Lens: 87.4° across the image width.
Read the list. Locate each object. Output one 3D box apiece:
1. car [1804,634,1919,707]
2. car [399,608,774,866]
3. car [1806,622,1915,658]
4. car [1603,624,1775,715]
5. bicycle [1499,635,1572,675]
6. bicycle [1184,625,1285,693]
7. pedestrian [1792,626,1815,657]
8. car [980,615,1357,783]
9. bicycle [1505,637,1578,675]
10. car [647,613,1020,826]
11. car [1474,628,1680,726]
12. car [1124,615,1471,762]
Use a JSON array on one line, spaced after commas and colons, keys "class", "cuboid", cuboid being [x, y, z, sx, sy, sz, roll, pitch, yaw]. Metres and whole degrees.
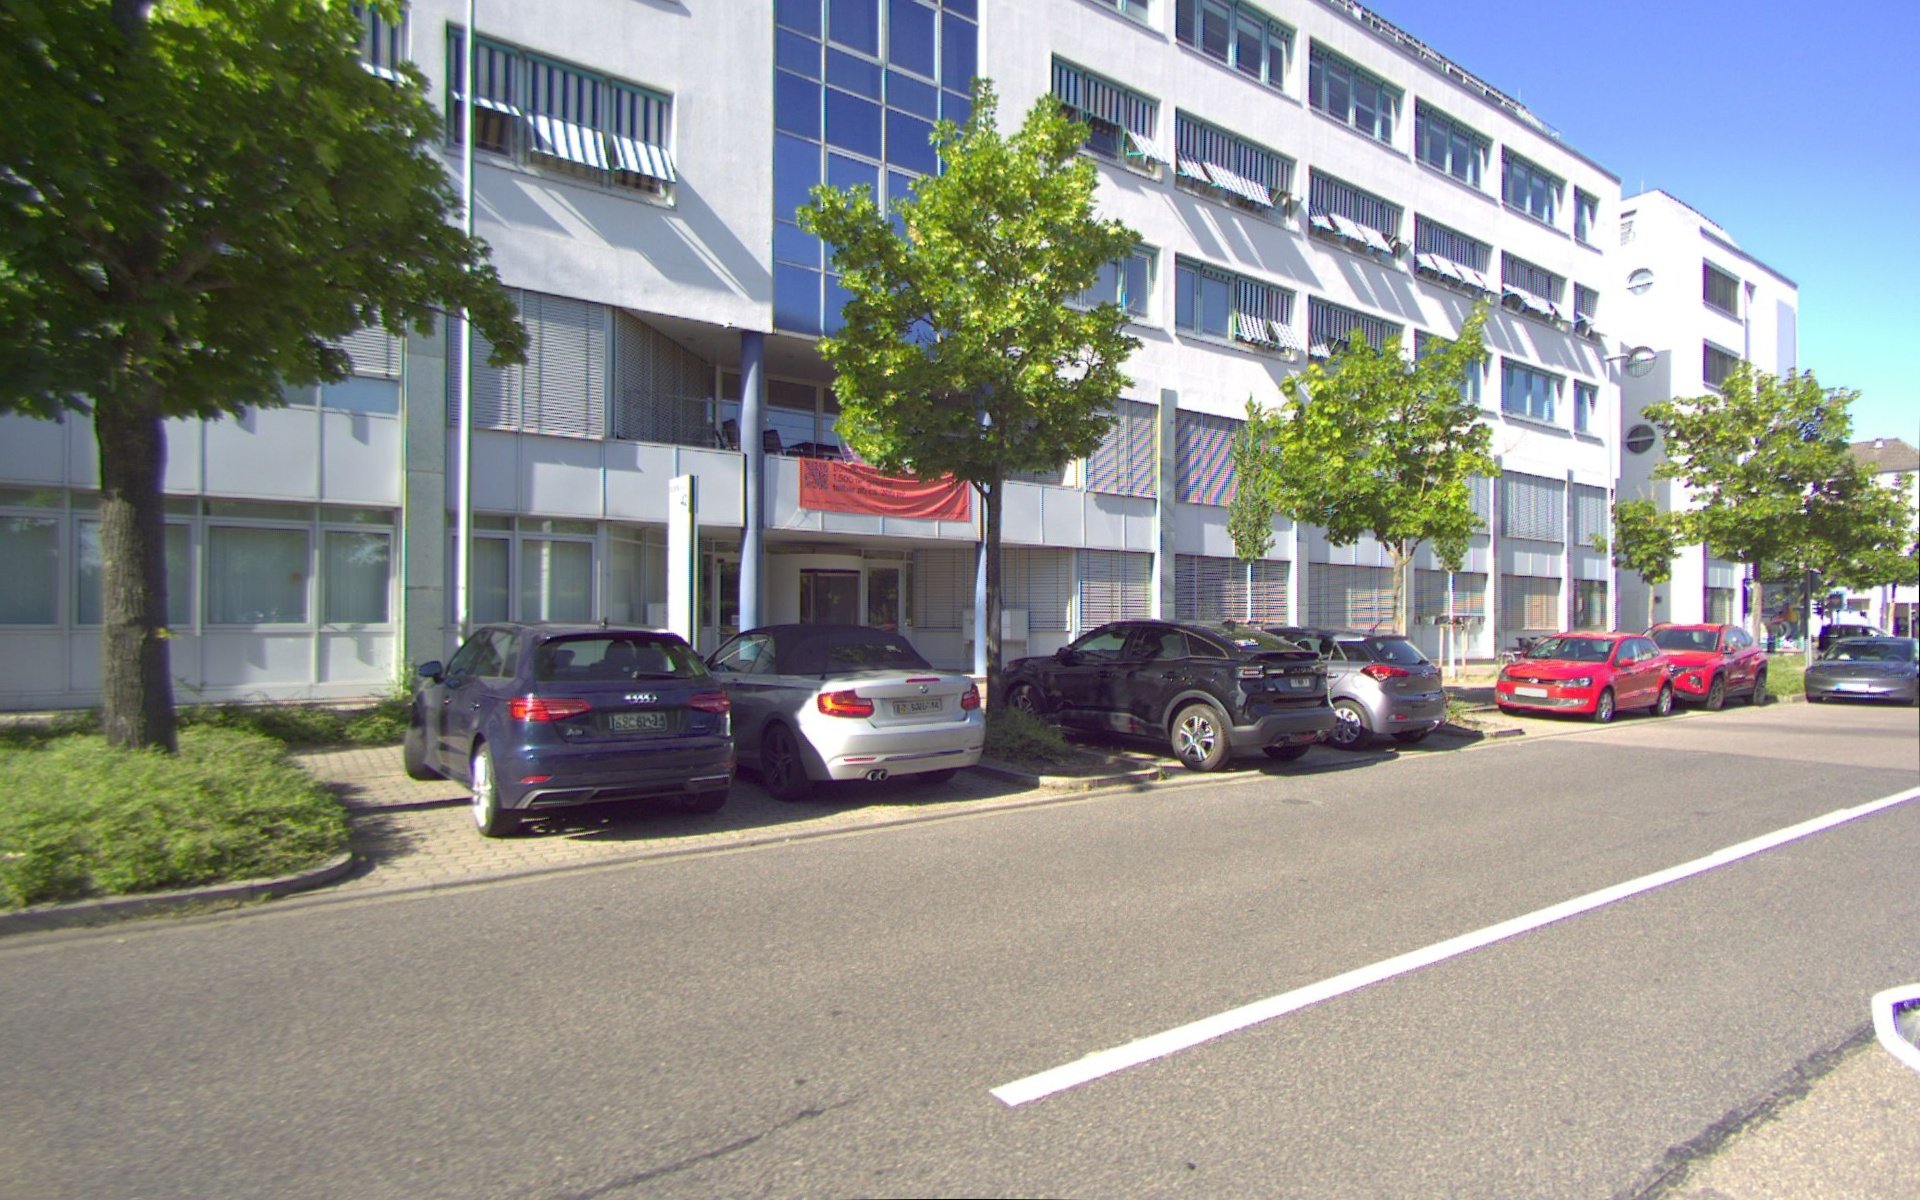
[{"class": "car", "cuboid": [20.621, 1.502, 22.553, 4.507, 1.487, 1.675, 1, -2, -39]}, {"class": "car", "cuboid": [-3.348, 0.870, 8.402, 1.679, 1.451, 4.350, 1, 1, -38]}, {"class": "car", "cuboid": [52.448, 2.271, 58.575, 1.749, 1.824, 4.448, 1, 1, -38]}, {"class": "car", "cuboid": [15.010, 1.346, 20.599, 4.271, 1.628, 1.675, 1, 1, -37]}, {"class": "bicycle", "cuboid": [16.332, 1.550, 28.552, 0.548, 1.083, 1.761, 1, -2, -27]}, {"class": "bicycle", "cuboid": [5.780, 1.233, 21.116, 2.205, 1.365, 0.706, 1, -2, -30]}, {"class": "pedestrian", "cuboid": [47.190, 2.319, 56.189, 1.145, 1.749, 0.804, 1, -2, -40]}, {"class": "car", "cuboid": [2.247, 0.999, 11.948, 1.678, 1.451, 4.352, 1, 1, -37]}, {"class": "bicycle", "cuboid": [16.855, 1.611, 29.145, 0.613, 1.083, 1.782, 1, -2, -27]}, {"class": "car", "cuboid": [-1.465, 0.935, 9.810, 1.678, 1.451, 4.353, 1, 1, -37]}, {"class": "car", "cuboid": [10.794, 1.261, 17.502, 3.833, 1.451, 1.677, 1, 1, -35]}, {"class": "car", "cuboid": [4.502, 1.076, 13.999, 1.679, 1.558, 4.350, 1, 1, -39]}]
